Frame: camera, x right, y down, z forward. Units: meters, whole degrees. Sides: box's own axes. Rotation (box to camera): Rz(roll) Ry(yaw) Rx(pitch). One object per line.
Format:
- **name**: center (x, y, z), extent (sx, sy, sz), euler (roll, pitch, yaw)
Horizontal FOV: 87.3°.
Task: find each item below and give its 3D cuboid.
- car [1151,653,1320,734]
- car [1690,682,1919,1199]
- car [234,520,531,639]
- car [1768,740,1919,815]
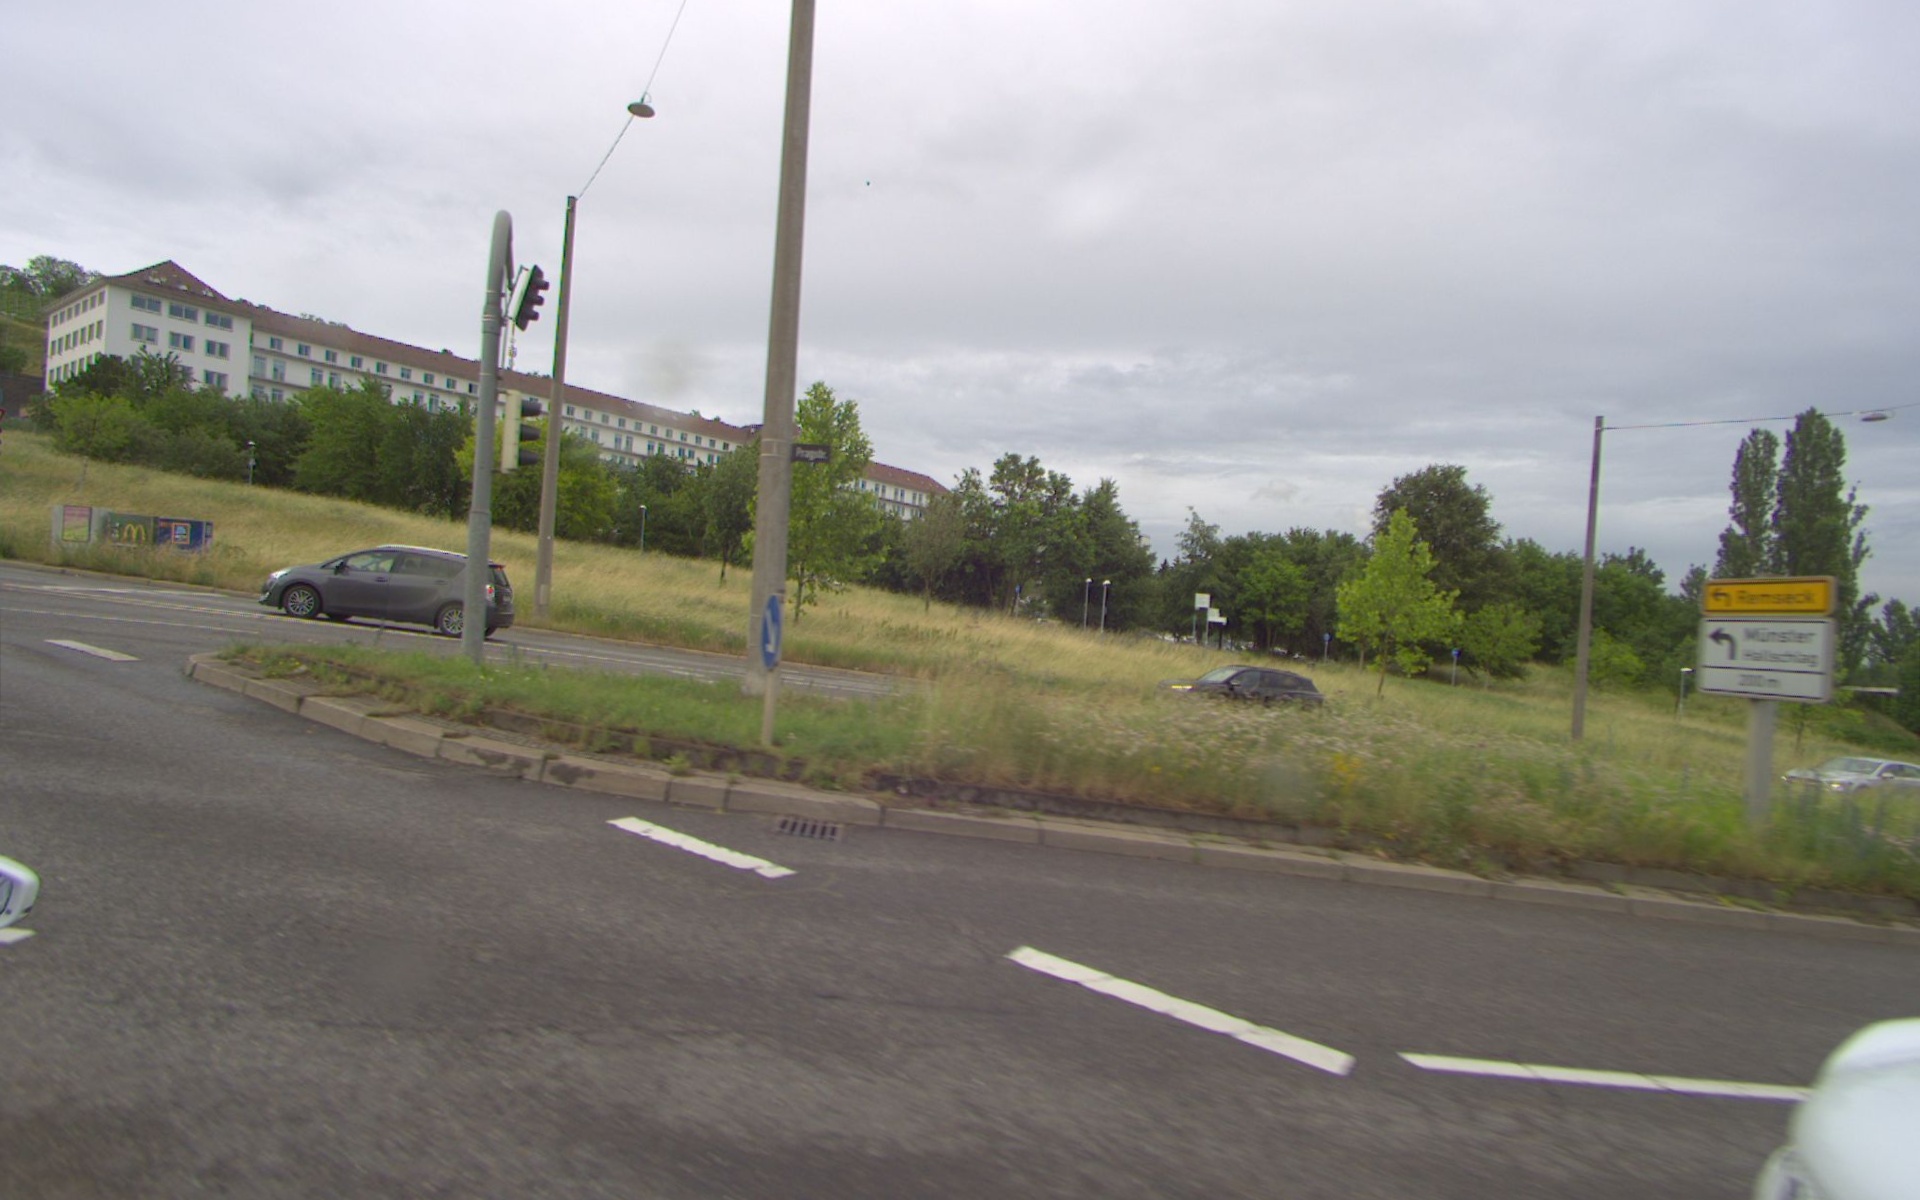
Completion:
- **car**: center (7.197, 2.448, 26.485), extent (3.820, 1.659, 1.722), euler (7, -4, -7)
- **car**: center (3.236, 1.140, 0.739), extent (4.158, 1.539, 1.725), euler (6, -3, 32)
- **car**: center (-11.315, -0.330, 20.067), extent (4.550, 1.660, 1.999), euler (7, -3, -10)
- **car**: center (24.420, 4.836, 27.191), extent (3.932, 1.444, 1.746), euler (7, -1, -8)
